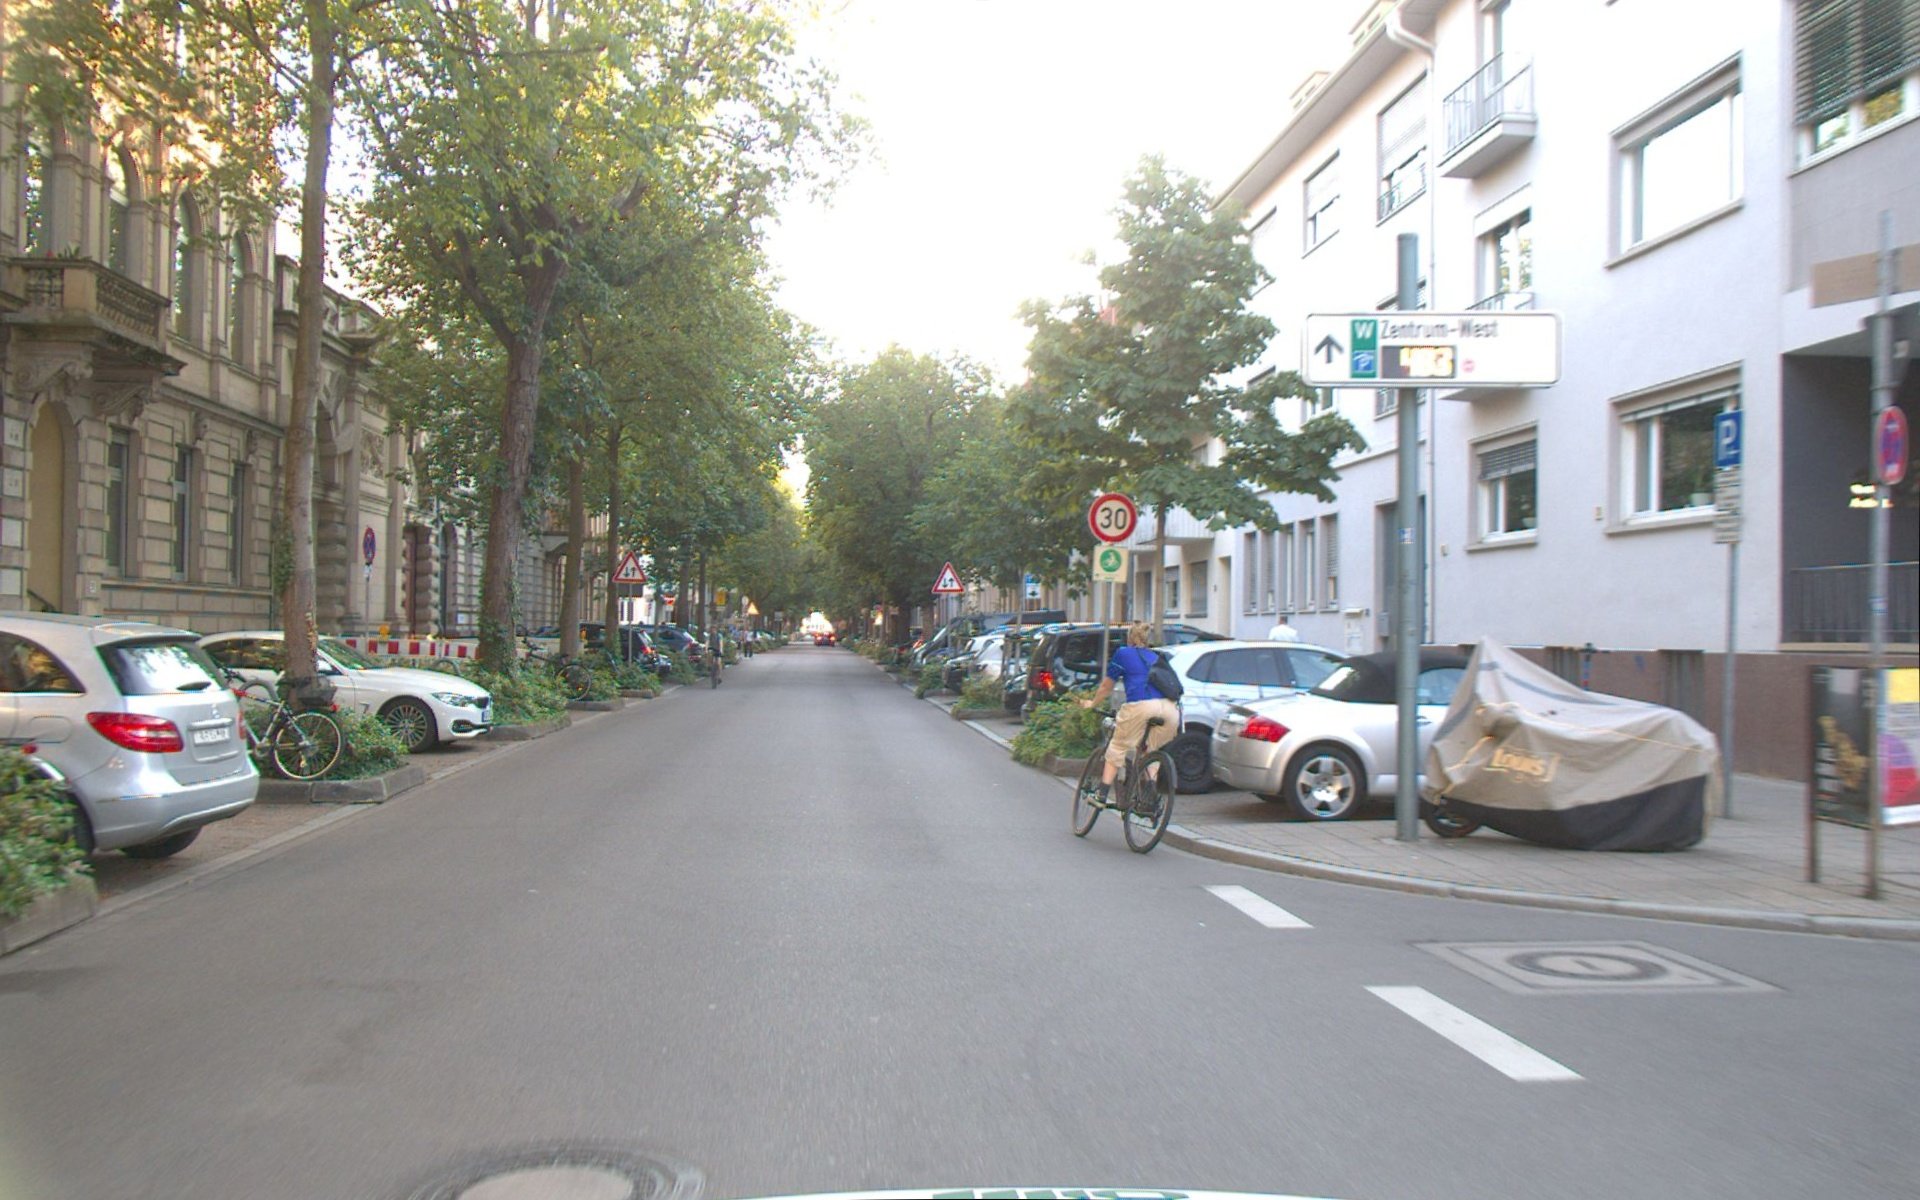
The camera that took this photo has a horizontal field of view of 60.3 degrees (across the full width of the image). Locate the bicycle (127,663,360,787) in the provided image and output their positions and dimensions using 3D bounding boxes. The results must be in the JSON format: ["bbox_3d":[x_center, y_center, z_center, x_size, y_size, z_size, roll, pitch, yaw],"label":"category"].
[{"bbox_3d":[-6.332,1.101,14.680,1.759,1.027,0.598,2,-2,-5],"label":"bicycle"}]

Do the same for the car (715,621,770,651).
[{"bbox_3d":[-18.798,3.088,142.940,4.591,2.521,1.997,1,-2,-6],"label":"car"}]

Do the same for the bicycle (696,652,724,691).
[{"bbox_3d":[-6.829,1.943,45.225,0.659,1.011,1.756,0,-1,-5],"label":"bicycle"}]

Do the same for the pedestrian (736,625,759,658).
[{"bbox_3d":[-10.907,2.144,84.901,0.815,1.700,0.793,-2,-2,38],"label":"pedestrian"}]

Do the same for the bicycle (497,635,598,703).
[{"bbox_3d":[-7.781,1.305,31.225,1.735,1.254,0.500,1,-3,0],"label":"bicycle"}]

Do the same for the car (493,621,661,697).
[{"bbox_3d":[-9.808,1.506,42.649,3.889,1.624,1.778,5,-2,-5],"label":"car"}]

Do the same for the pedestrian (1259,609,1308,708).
[{"bbox_3d":[6.044,1.079,30.961,0.683,1.827,0.880,0,-1,-5],"label":"pedestrian"}]

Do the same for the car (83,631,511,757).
[{"bbox_3d":[-7.949,1.123,20.197,4.424,1.415,1.914,1,-2,-4],"label":"car"}]

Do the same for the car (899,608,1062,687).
[{"bbox_3d":[0.568,1.416,49.480,4.600,2.046,2.034,-3,-1,-6],"label":"car"}]

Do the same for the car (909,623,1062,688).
[{"bbox_3d":[0.697,1.564,47.114,4.077,1.606,1.966,-3,-1,-7],"label":"car"}]

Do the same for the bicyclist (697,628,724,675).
[{"bbox_3d":[-6.828,1.405,45.278,0.659,1.286,0.647,0,-1,-5],"label":"bicyclist"}]

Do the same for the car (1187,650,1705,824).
[{"bbox_3d":[4.031,1.129,14.159,3.907,1.356,1.793,0,-1,-2],"label":"car"}]

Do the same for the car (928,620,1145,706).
[{"bbox_3d":[1.653,1.375,36.702,4.503,1.606,1.941,-3,-1,-7],"label":"car"}]

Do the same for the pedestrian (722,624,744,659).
[{"bbox_3d":[-11.602,2.128,84.437,0.815,1.767,0.793,-2,-2,38],"label":"pedestrian"}]

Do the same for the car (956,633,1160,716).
[{"bbox_3d":[1.989,1.519,34.328,3.994,1.454,1.817,-3,-1,-4],"label":"car"}]

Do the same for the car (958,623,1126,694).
[{"bbox_3d":[1.922,1.380,39.441,3.720,1.448,1.695,-3,-1,-7],"label":"car"}]

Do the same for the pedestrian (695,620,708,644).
[{"bbox_3d":[-19.427,2.378,124.292,0.688,1.788,0.740,0,-2,18],"label":"pedestrian"}]

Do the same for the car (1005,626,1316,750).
[{"bbox_3d":[2.730,1.199,23.180,4.029,1.646,1.959,0,-1,-5],"label":"car"}]

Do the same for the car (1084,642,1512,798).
[{"bbox_3d":[3.320,1.172,16.723,3.909,1.463,1.792,0,-1,-5],"label":"car"}]

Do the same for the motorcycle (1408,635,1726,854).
[{"bbox_3d":[4.107,0.956,11.361,1.867,1.417,1.000,0,-2,8],"label":"motorcycle"}]

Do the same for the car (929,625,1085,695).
[{"bbox_3d":[1.220,1.582,44.052,3.890,1.606,1.849,-3,-1,-7],"label":"car"}]

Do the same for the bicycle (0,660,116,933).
[{"bbox_3d":[-5.465,0.988,8.565,1.762,1.350,0.772,1,-1,-11],"label":"bicycle"}]

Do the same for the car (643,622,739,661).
[{"bbox_3d":[-12.824,1.964,79.092,4.339,1.680,1.871,2,-1,-5],"label":"car"}]

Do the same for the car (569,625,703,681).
[{"bbox_3d":[-10.728,1.751,55.044,4.119,1.701,1.905,2,-1,-5],"label":"car"}]

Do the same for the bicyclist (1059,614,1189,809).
[{"bbox_3d":[1.209,0.817,12.263,0.662,1.387,0.771,2,-2,-21],"label":"bicyclist"}]

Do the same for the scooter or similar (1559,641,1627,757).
[{"bbox_3d":[7.202,1.104,18.850,0.338,1.261,1.421,0,-1,5],"label":"scooter or similar"}]

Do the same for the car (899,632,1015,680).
[{"bbox_3d":[-0.129,2.000,59.546,3.912,1.463,1.923,-3,-1,-7],"label":"car"}]

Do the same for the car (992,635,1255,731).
[{"bbox_3d":[2.763,1.401,28.533,4.232,1.522,1.791,-1,-1,-7],"label":"car"}]

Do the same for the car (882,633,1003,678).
[{"bbox_3d":[-0.678,2.053,61.952,4.318,1.418,1.882,-3,-1,-8],"label":"car"}]

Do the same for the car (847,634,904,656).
[{"bbox_3d":[-6.935,3.673,135.557,4.624,1.740,1.948,1,-1,-4],"label":"car"}]

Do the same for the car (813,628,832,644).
[{"bbox_3d":[-13.913,3.643,167.444,1.918,1.593,4.277,-1,-2,-5],"label":"car"}]

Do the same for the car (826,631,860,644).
[{"bbox_3d":[-14.640,4.679,206.610,4.185,1.593,1.960,-1,-2,-6],"label":"car"}]

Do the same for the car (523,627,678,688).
[{"bbox_3d":[-9.929,1.578,45.884,3.888,1.411,1.763,4,-1,-5],"label":"car"}]

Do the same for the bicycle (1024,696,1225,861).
[{"bbox_3d":[1.175,1.282,12.293,0.662,1.048,1.964,2,-2,-21],"label":"bicycle"}]

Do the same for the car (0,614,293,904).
[{"bbox_3d":[-6.446,0.870,9.943,4.087,1.584,1.825,1,-1,-3],"label":"car"}]
